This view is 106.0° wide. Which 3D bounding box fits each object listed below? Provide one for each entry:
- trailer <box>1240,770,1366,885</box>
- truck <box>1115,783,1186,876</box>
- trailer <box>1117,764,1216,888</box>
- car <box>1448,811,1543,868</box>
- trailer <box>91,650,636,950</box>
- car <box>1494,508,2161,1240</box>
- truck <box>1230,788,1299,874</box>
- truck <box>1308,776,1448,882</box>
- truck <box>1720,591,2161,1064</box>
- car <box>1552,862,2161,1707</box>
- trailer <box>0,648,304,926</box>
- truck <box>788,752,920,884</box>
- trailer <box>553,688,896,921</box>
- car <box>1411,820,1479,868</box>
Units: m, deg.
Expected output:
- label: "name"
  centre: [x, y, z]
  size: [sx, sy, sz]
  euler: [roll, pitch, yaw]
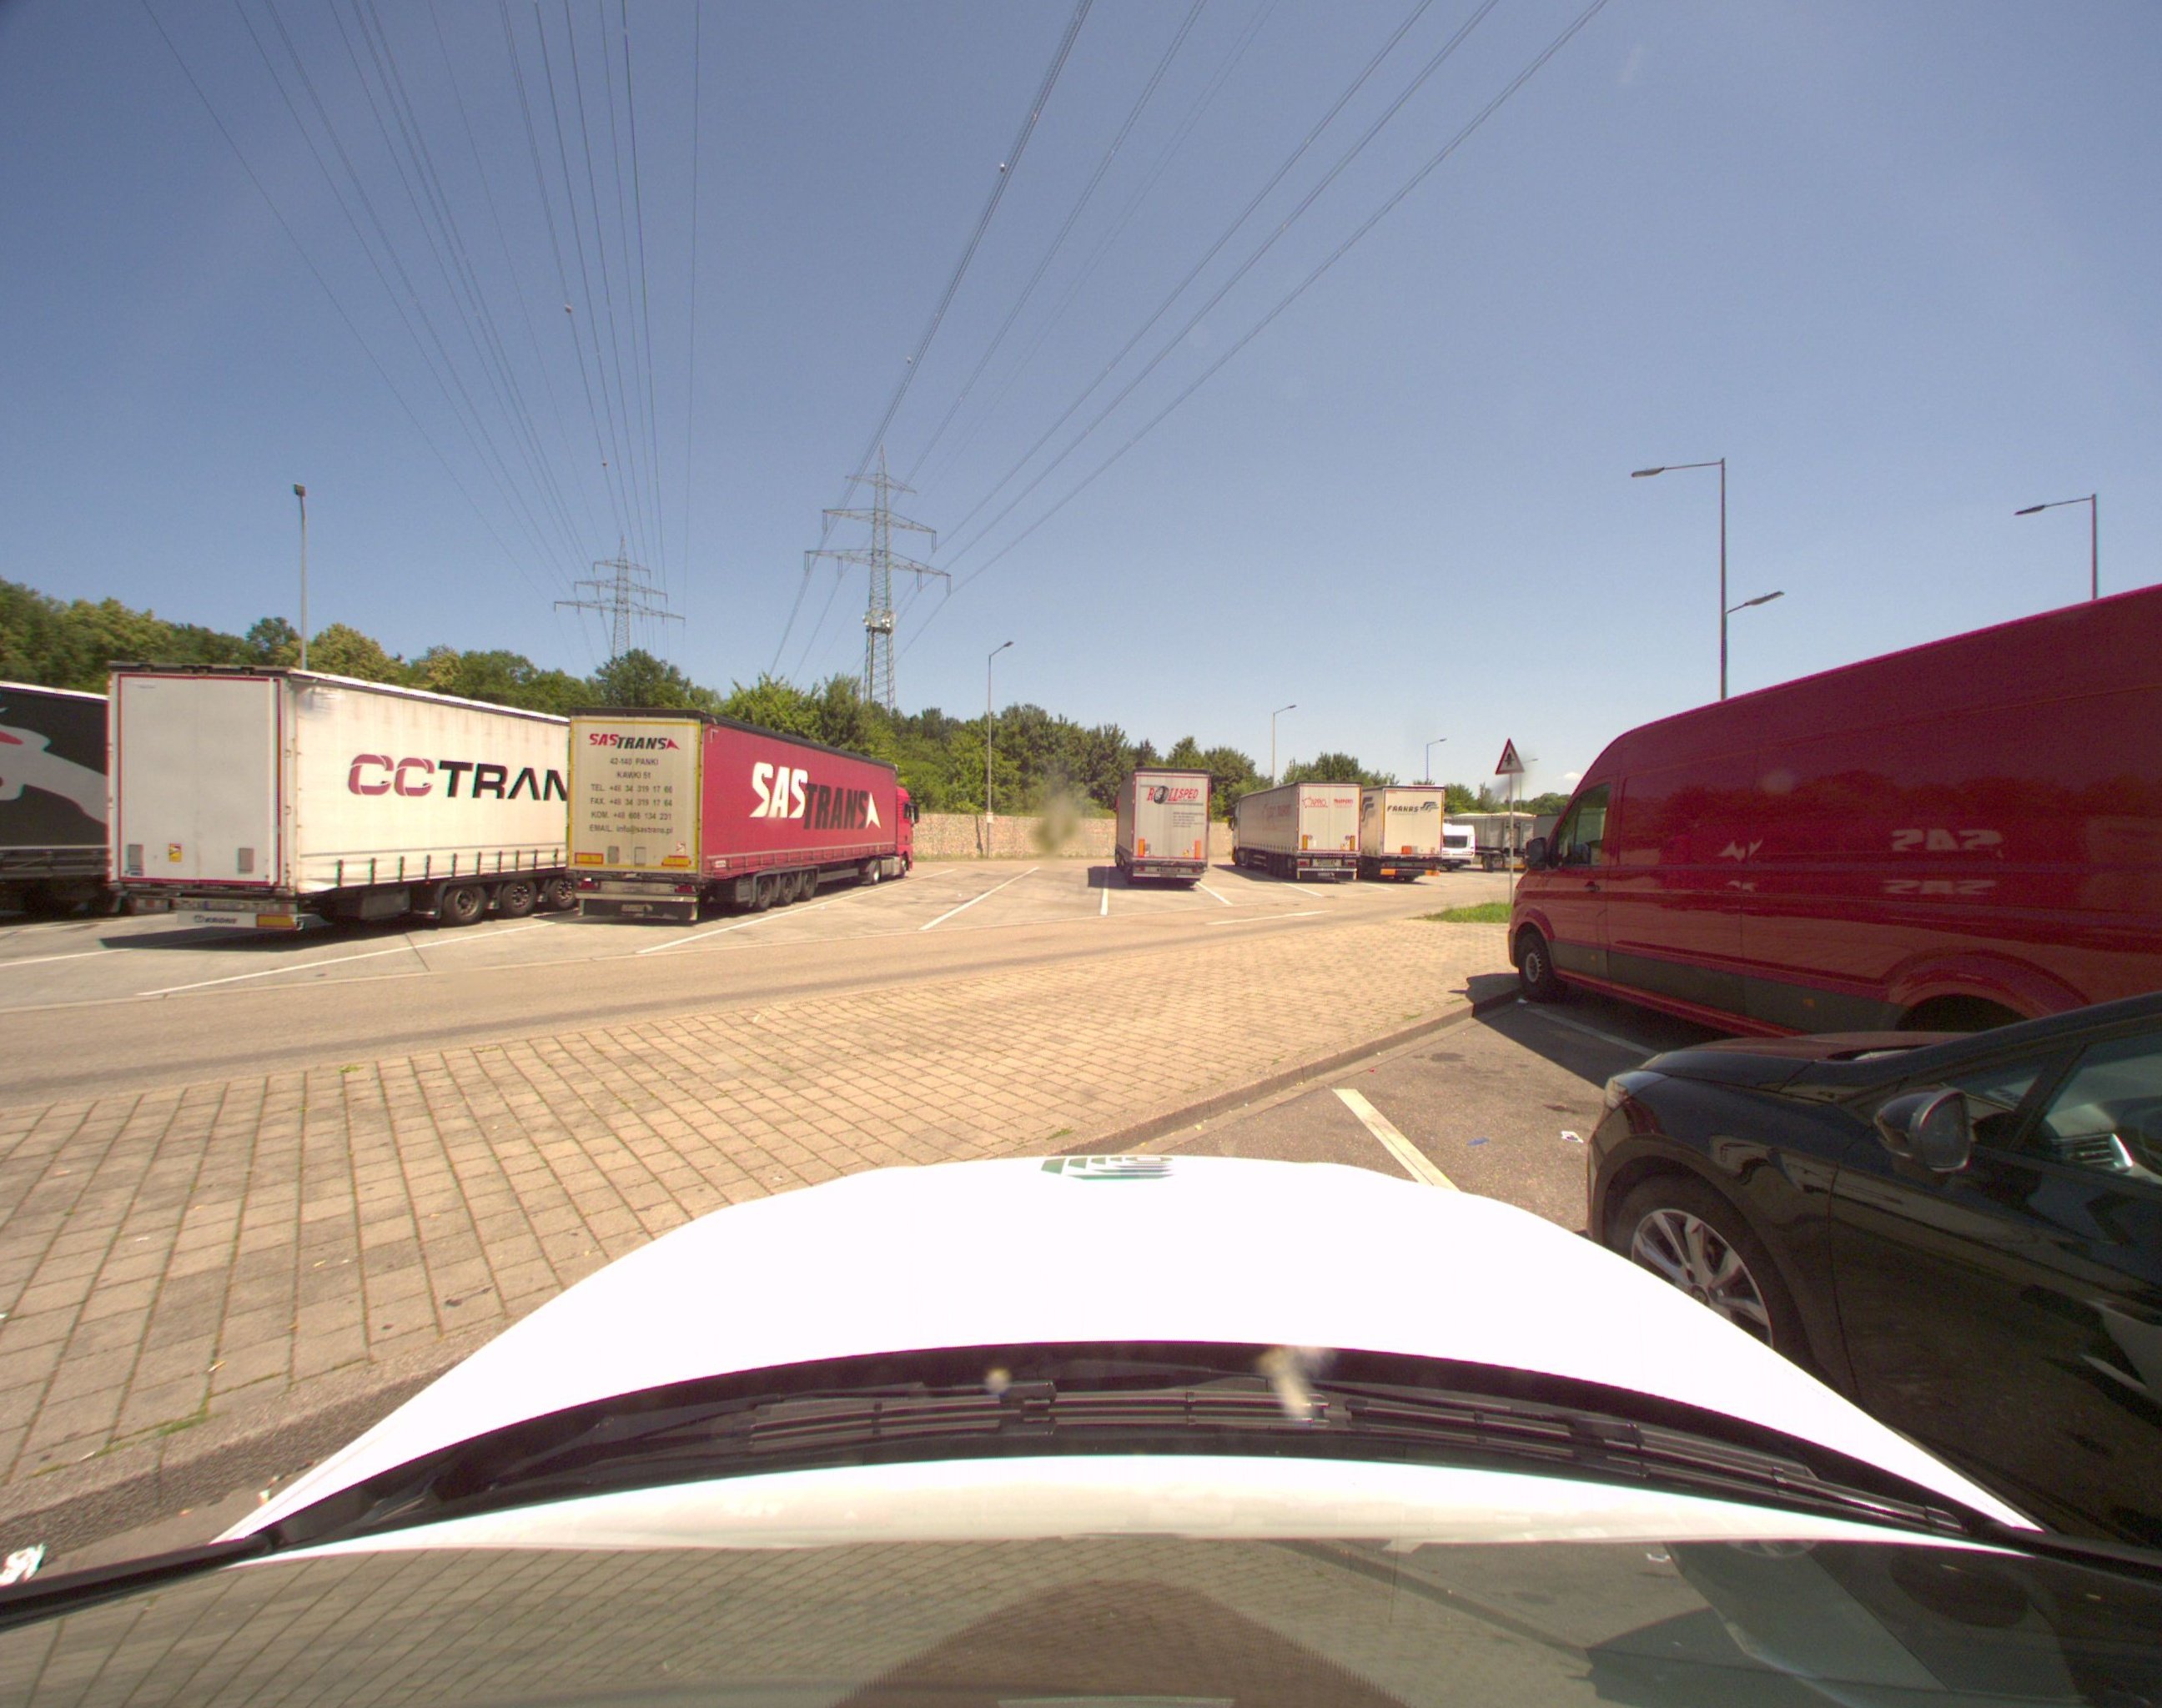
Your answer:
- label: "trailer"
  centre: [9.896, -1.119, 38.133]
  size: [2.672, 4.452, 12.833]
  euler: [-1, 1, 1]
- label: "truck"
  centre: [3.093, -1.093, 37.754]
  size: [2.862, 3.980, 6.030]
  euler: [0, 1, 1]
- label: "trailer"
  centre: [3.036, -1.008, 32.220]
  size: [2.887, 4.013, 11.319]
  euler: [-1, 1, 1]
- label: "car"
  centre: [24.129, -0.830, 47.751]
  size: [2.490, 3.074, 6.353]
  euler: [-1, 1, 2]
- label: "trailer"
  centre: [-12.191, -0.811, 15.415]
  size: [2.744, 4.152, 8.291]
  euler: [0, 1, 2]
- label: "car"
  centre: [5.128, 0.027, 5.490]
  size: [1.984, 2.633, 6.393]
  euler: [-1, 1, 5]
- label: "truck"
  centre: [10.072, -1.240, 45.250]
  size: [2.651, 4.452, 5.866]
  euler: [-1, 1, 2]
- label: "truck"
  centre: [13.525, -0.947, 38.528]
  size: [2.577, 4.226, 11.974]
  euler: [0, -1, 2]
- label: "truck"
  centre: [7.788, -0.156, 6.027]
  size: [2.508, 2.827, 4.821]
  euler: [0, -1, 3]
- label: "car"
  centre: [2.551, 0.746, 0.915]
  size: [1.772, 1.457, 3.681]
  euler: [0, -1, -3]
- label: "trailer"
  centre: [-18.569, -1.083, 14.862]
  size: [2.668, 4.444, 6.151]
  euler: [-1, 1, 2]
- label: "truck"
  centre: [-7.757, -1.176, 28.709]
  size: [2.795, 4.133, 5.896]
  euler: [-1, 1, 2]
- label: "trailer"
  centre: [-8.007, -1.000, 21.453]
  size: [2.789, 4.219, 13.208]
  euler: [-1, 1, 2]
- label: "car"
  centre: [20.531, -0.526, 46.129]
  size: [2.107, 2.599, 4.001]
  euler: [0, -1, 2]
